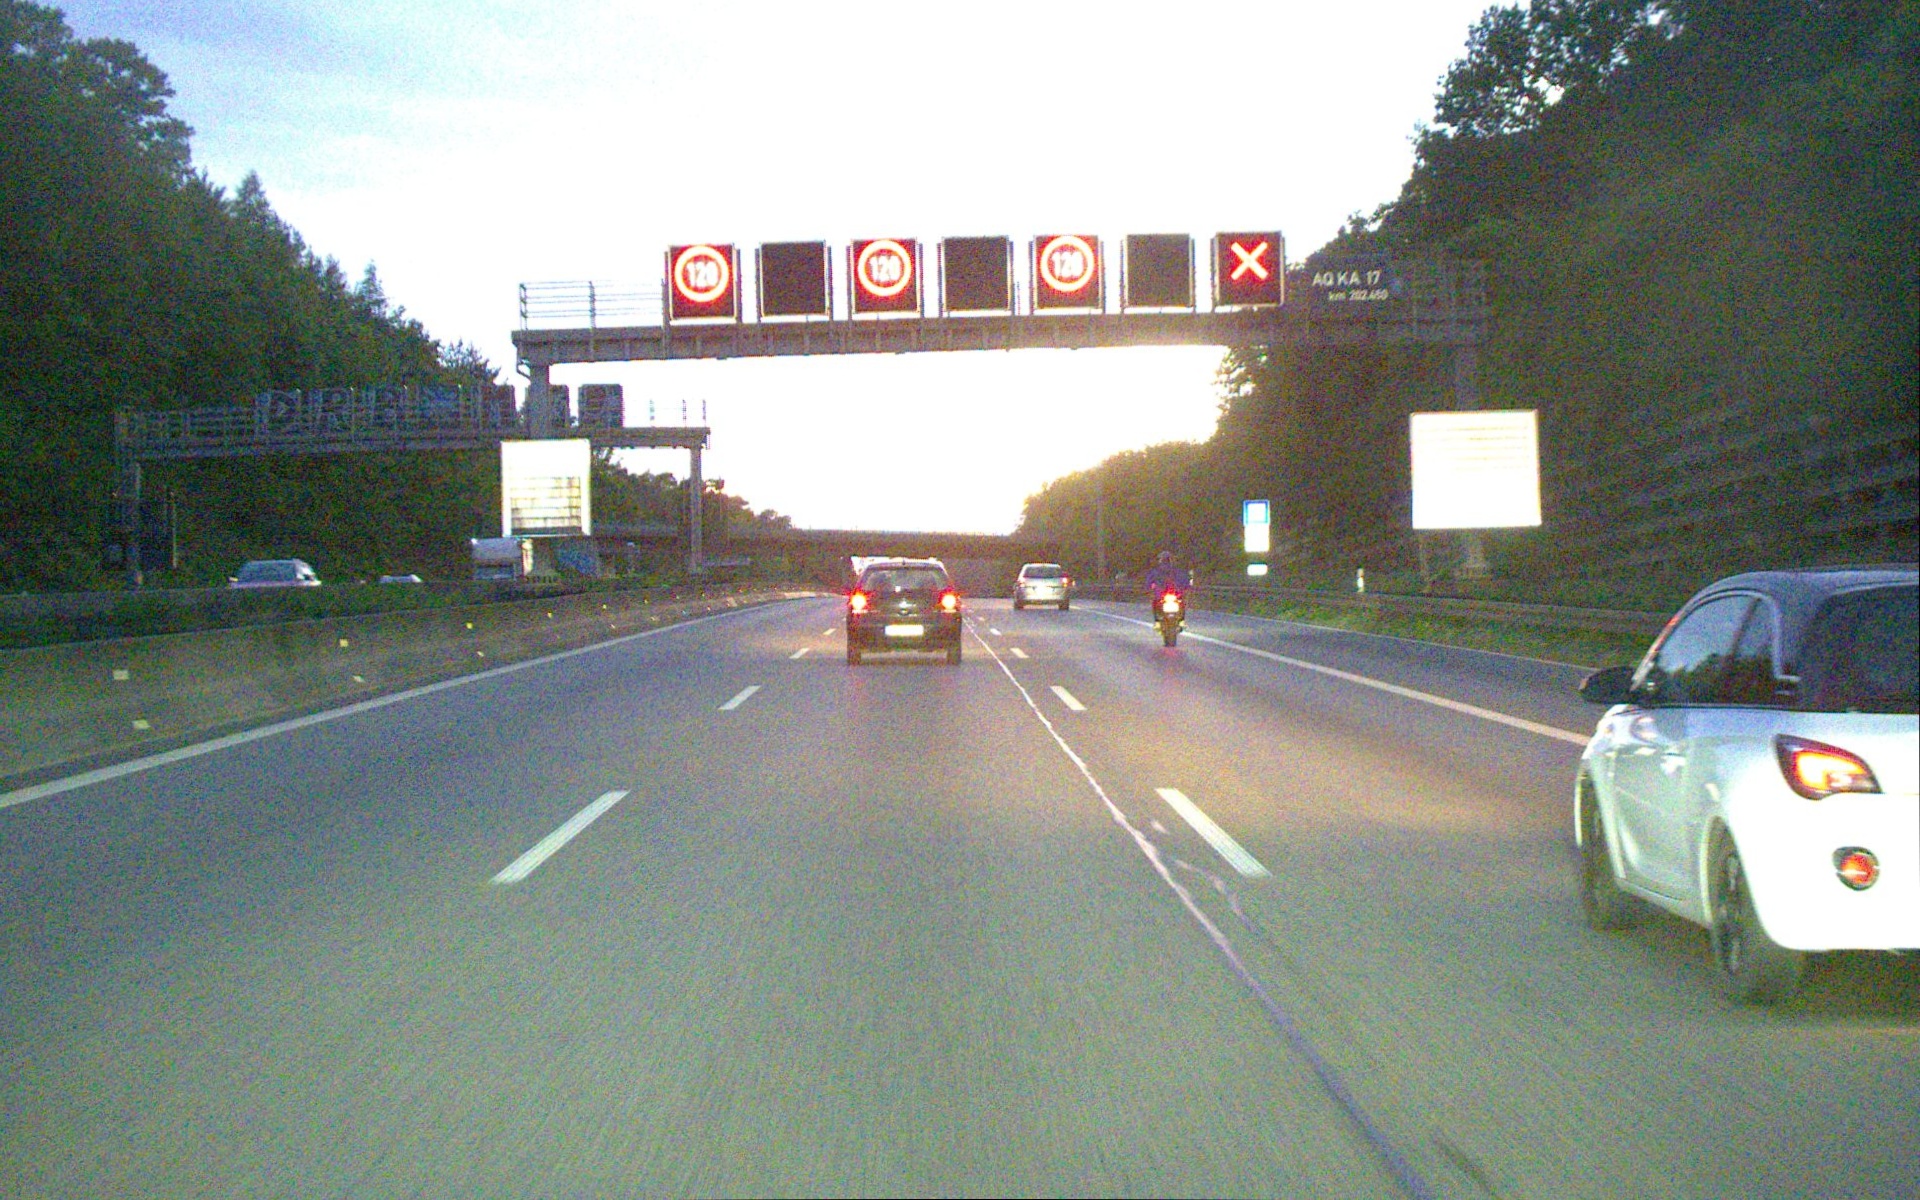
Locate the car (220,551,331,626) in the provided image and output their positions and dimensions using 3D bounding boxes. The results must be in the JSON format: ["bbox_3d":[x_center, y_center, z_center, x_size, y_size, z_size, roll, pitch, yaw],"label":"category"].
[{"bbox_3d":[-16.080,-0.301,80.969,1.736,1.709,4.715,0,1,-1],"label":"car"}]

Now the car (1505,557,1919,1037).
[{"bbox_3d":[3.315,0.593,12.769,1.825,1.470,4.399,0,0,-1],"label":"car"}]

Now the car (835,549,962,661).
[{"bbox_3d":[-0.855,0.071,49.140,1.704,1.504,4.232,1,0,0],"label":"car"}]

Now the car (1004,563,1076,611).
[{"bbox_3d":[2.580,-0.426,111.885,1.865,1.489,4.399,1,0,-5],"label":"car"}]

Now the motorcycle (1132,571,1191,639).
[{"bbox_3d":[3.449,0.070,59.092,0.829,1.130,2.476,0,1,-1],"label":"motorcycle"}]

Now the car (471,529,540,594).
[{"bbox_3d":[-20.743,-1.762,157.229,1.982,2.871,7.834,-1,0,1],"label":"car"}]

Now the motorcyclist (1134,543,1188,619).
[{"bbox_3d":[3.445,-0.335,59.020,0.829,1.287,1.190,0,0,-1],"label":"motorcyclist"}]
